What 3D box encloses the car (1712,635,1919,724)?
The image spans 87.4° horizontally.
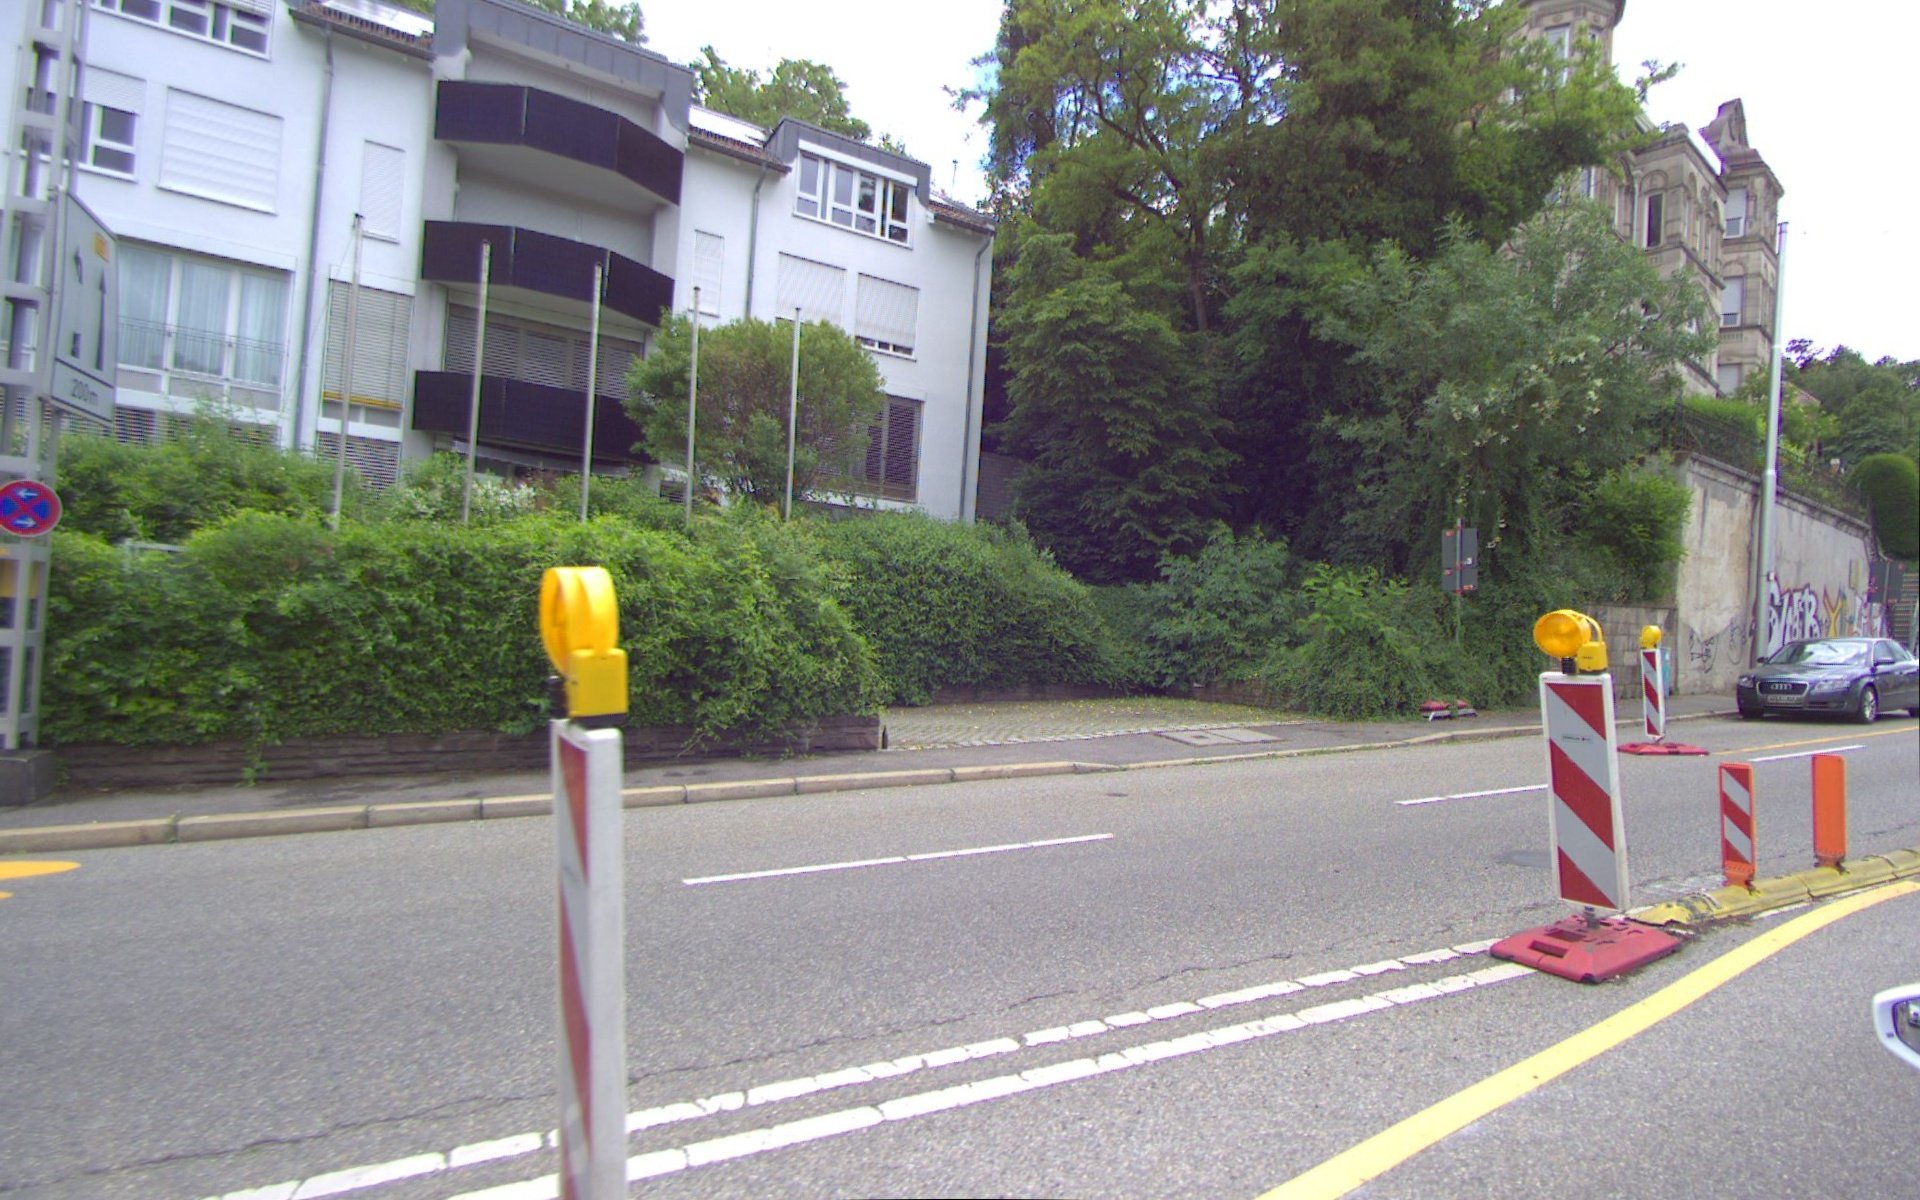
[{"bbox_3d":[15.222,1.322,17.567,4.337,1.391,1.791,1,-3,-31],"label":"car"}]
